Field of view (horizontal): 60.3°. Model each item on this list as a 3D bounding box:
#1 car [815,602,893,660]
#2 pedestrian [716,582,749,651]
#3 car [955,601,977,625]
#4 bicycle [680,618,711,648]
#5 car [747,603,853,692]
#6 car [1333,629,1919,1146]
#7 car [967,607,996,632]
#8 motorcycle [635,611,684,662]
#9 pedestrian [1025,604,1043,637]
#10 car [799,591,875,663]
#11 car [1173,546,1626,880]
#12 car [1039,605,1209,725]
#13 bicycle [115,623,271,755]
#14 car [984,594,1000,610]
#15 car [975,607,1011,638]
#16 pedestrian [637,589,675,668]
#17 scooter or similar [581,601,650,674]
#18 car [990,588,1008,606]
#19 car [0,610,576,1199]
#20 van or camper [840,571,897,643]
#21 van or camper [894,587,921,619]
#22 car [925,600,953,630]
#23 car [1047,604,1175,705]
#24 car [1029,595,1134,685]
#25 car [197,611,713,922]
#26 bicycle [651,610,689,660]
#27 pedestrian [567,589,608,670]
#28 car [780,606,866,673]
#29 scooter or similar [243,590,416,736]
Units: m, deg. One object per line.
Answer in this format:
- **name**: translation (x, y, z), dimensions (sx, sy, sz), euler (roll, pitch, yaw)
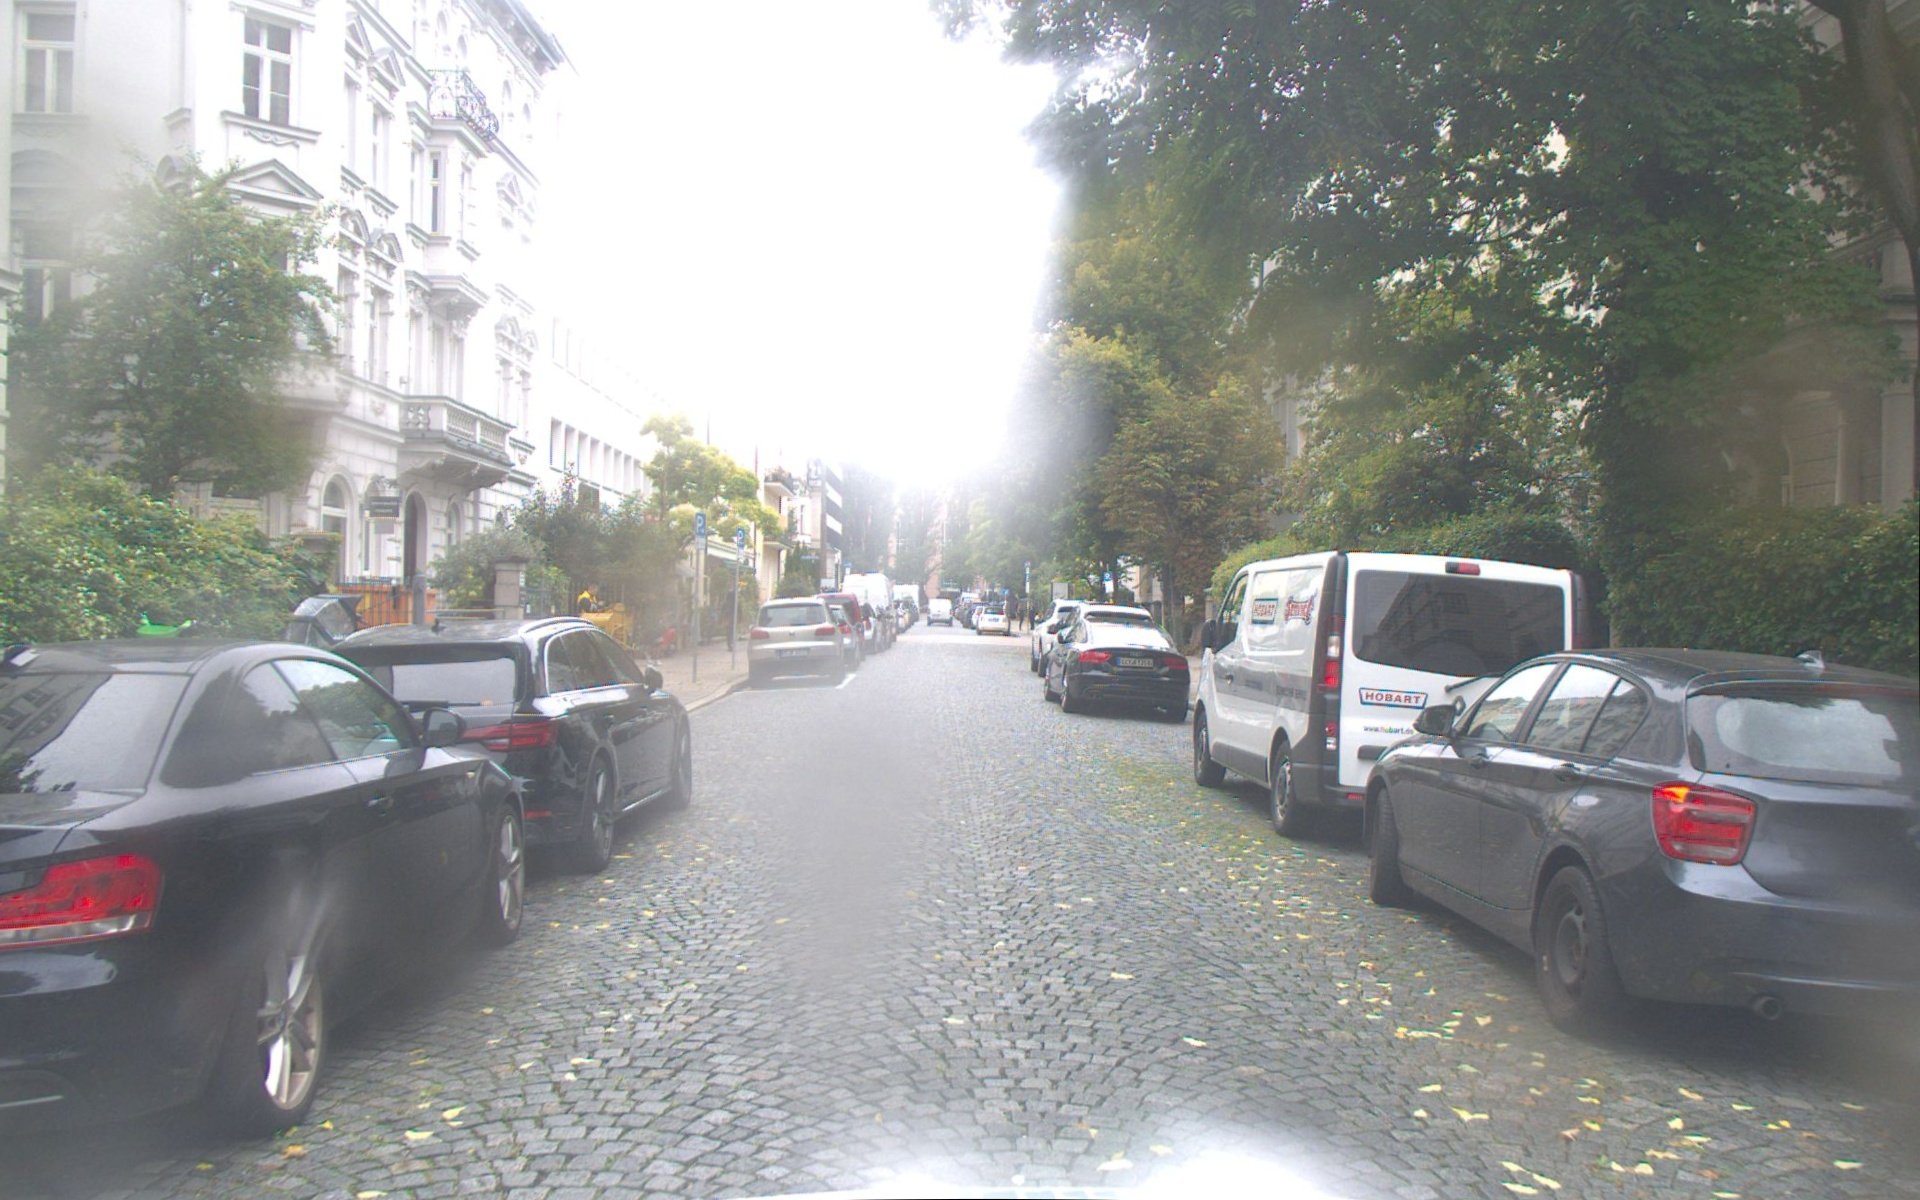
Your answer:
- **car**: translation (-3.192, 0.920, 50.568), dimensions (1.834, 1.607, 4.209), euler (3, 0, 2)
- **pedestrian**: translation (-6.571, 0.476, 47.780), dimensions (0.776, 1.951, 0.758), euler (2, 0, -1)
- **car**: translation (0.508, 1.175, 150.555), dimensions (1.953, 2.049, 4.000), euler (2, 0, 0)
- **bicycle**: translation (-7.905, 0.986, 49.511), dimensions (0.492, 0.854, 2.090), euler (1, 0, 3)
- **car**: translation (-3.110, 0.888, 32.877), dimensions (1.836, 1.607, 4.253), euler (-2, 0, -3)
- **car**: translation (3.103, 0.974, 7.414), dimensions (1.800, 1.516, 4.421), euler (4, 0, 0)
- **car**: translation (1.374, 1.237, 107.337), dimensions (1.753, 1.547, 4.000), euler (1, 0, 0)
- **motorcycle**: translation (-7.394, 0.885, 40.736), dimensions (0.609, 1.217, 1.866), euler (1, 0, 8)
- **pedestrian**: translation (4.659, 1.301, 104.121), dimensions (0.843, 2.049, 0.986), euler (1, -1, -18)
- **car**: translation (-3.323, 0.717, 45.417), dimensions (1.835, 1.807, 4.121), euler (-2, 0, -2)
- **car**: translation (3.076, 0.714, 12.867), dimensions (1.836, 1.962, 5.161), euler (4, 0, -3)
- **car**: translation (2.365, 0.907, 25.036), dimensions (1.836, 1.529, 4.509), euler (4, 0, -3)
- **bicycle**: translation (-7.234, 0.805, 15.697), dimensions (0.565, 1.142, 2.050), euler (1, 0, -2)
- **car**: translation (4.142, 0.290, 214.142), dimensions (1.953, 2.049, 3.999), euler (1, -1, 0)
- **car**: translation (1.702, 1.170, 86.648), dimensions (1.753, 1.547, 4.000), euler (1, 0, 0)
- **pedestrian**: translation (-6.758, 0.633, 36.815), dimensions (0.679, 1.717, 0.719), euler (1, -1, -1)
- **scooter or similar**: translation (-7.319, 0.776, 35.232), dimensions (0.922, 1.467, 2.656), euler (1, 0, -1)
- **car**: translation (4.441, -0.320, 189.599), dimensions (1.953, 2.049, 3.999), euler (1, -1, 0)
- **car**: translation (-2.716, 0.803, 5.862), dimensions (1.747, 1.442, 4.495), euler (-2, 0, -2)
- **van or camper**: translation (-3.595, 0.285, 65.513), dimensions (1.953, 2.698, 4.000), euler (-2, 0, 0)
- **van or camper**: translation (-4.755, 0.271, 150.084), dimensions (2.210, 2.790, 5.097), euler (2, 0, -1)
- **car**: translation (-1.466, 1.074, 116.530), dimensions (1.953, 2.049, 4.000), euler (1, 0, 0)
- **car**: translation (2.696, 0.941, 30.376), dimensions (1.781, 1.607, 4.206), euler (4, 0, -1)
- **car**: translation (2.636, 0.855, 36.938), dimensions (1.835, 1.763, 4.592), euler (4, 0, -1)
- **car**: translation (-2.839, 0.841, 10.427), dimensions (1.848, 1.442, 4.406), euler (-2, 0, 0)
- **bicycle**: translation (-7.532, 0.882, 42.898), dimensions (0.645, 1.242, 2.078), euler (1, 0, -19)
- **pedestrian**: translation (-8.052, 0.625, 35.765), dimensions (0.703, 1.717, 0.695), euler (1, -1, -1)
- **car**: translation (-3.167, 0.888, 38.925), dimensions (1.836, 1.476, 4.205), euler (-1, 0, -3)
- **scooter or similar**: translation (-6.940, 0.655, 18.386), dimensions (0.922, 1.467, 2.655), euler (2, 0, -2)
